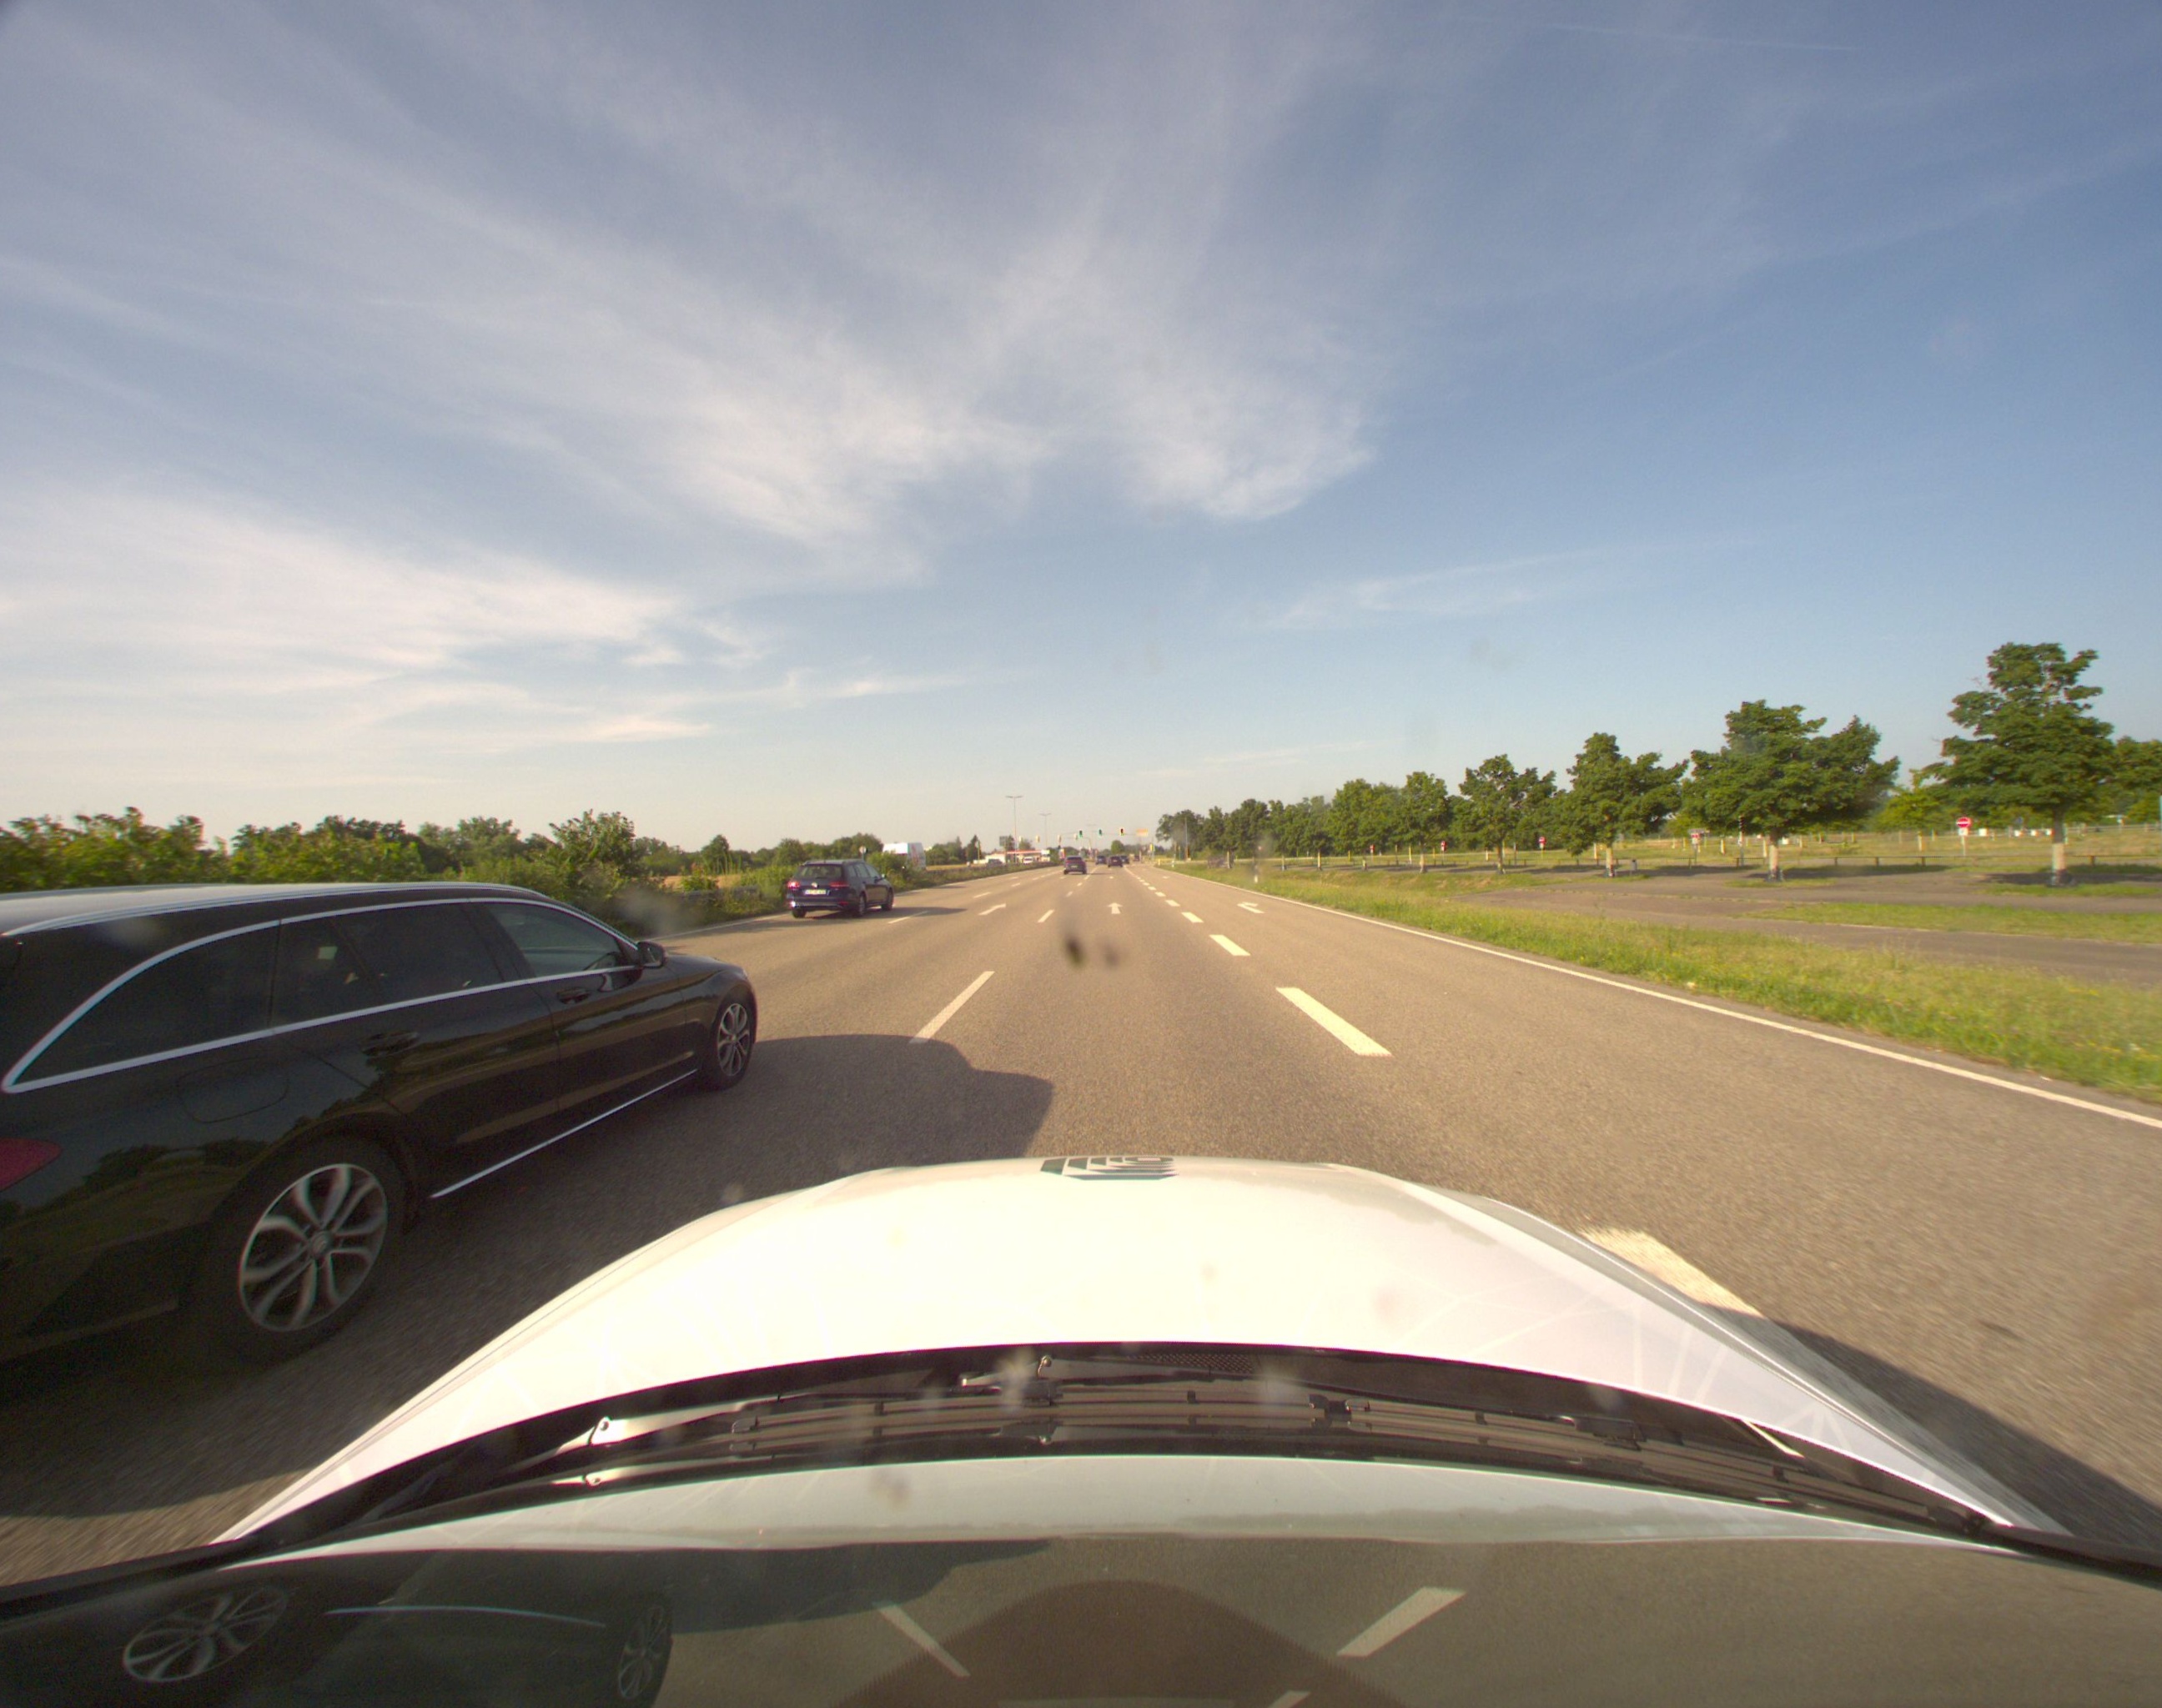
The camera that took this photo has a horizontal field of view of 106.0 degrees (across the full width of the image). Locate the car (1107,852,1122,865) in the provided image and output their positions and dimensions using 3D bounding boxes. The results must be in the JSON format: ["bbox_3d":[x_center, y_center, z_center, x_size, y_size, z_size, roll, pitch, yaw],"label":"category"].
[{"bbox_3d":[4.498,0.548,110.330,1.925,1.680,4.402,1,0,2],"label":"car"}]

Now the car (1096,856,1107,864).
[{"bbox_3d":[3.642,1.040,142.773,1.806,1.463,4.402,-1,0,2],"label":"car"}]

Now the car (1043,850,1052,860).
[{"bbox_3d":[-9.458,0.303,231.684,2.263,2.852,5.251,-1,0,2],"label":"car"}]

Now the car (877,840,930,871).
[{"bbox_3d":[-12.366,0.131,57.133,2.153,2.035,6.324,0,-1,1],"label":"car"}]

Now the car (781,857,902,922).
[{"bbox_3d":[-6.208,0.854,21.701,1.640,1.471,4.778,-1,0,2],"label":"car"}]

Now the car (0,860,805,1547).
[{"bbox_3d":[-3.084,0.801,3.953,1.566,1.471,5.025,-1,0,2],"label":"car"}]

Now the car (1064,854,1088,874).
[{"bbox_3d":[-0.401,0.823,69.806,1.839,1.612,4.402,1,0,2],"label":"car"}]

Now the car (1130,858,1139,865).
[{"bbox_3d":[12.317,1.727,188.087,1.940,1.636,3.447,0,-1,0],"label":"car"}]

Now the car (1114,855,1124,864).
[{"bbox_3d":[6.702,0.911,142.987,1.742,1.617,3.759,1,0,2],"label":"car"}]
